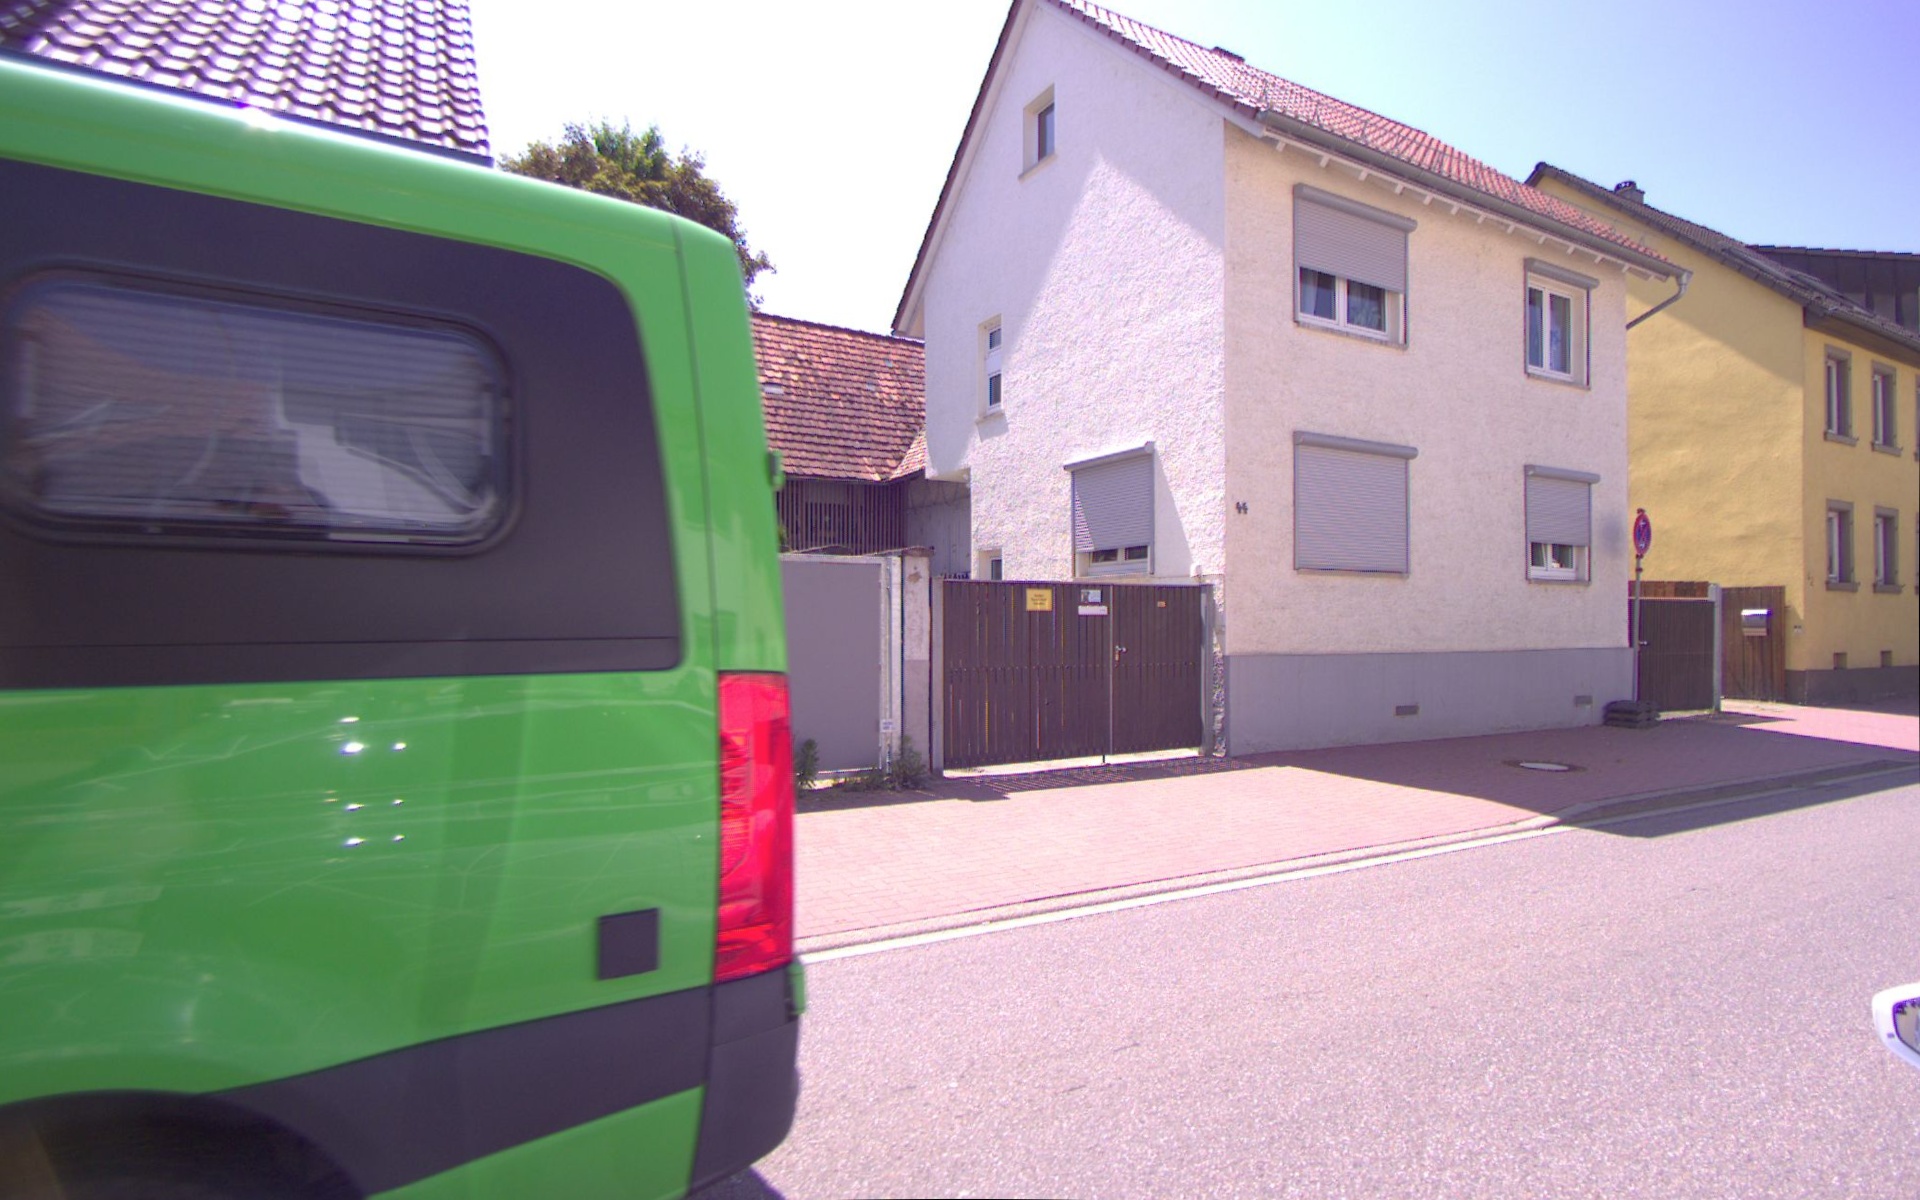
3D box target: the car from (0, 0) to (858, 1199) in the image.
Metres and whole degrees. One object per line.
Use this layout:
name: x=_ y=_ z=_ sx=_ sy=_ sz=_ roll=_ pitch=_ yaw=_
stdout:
car: x=-3.284 y=0.278 z=1.271 sx=6.010 sy=2.384 sz=2.041 roll=1 pitch=-2 yaw=-31
